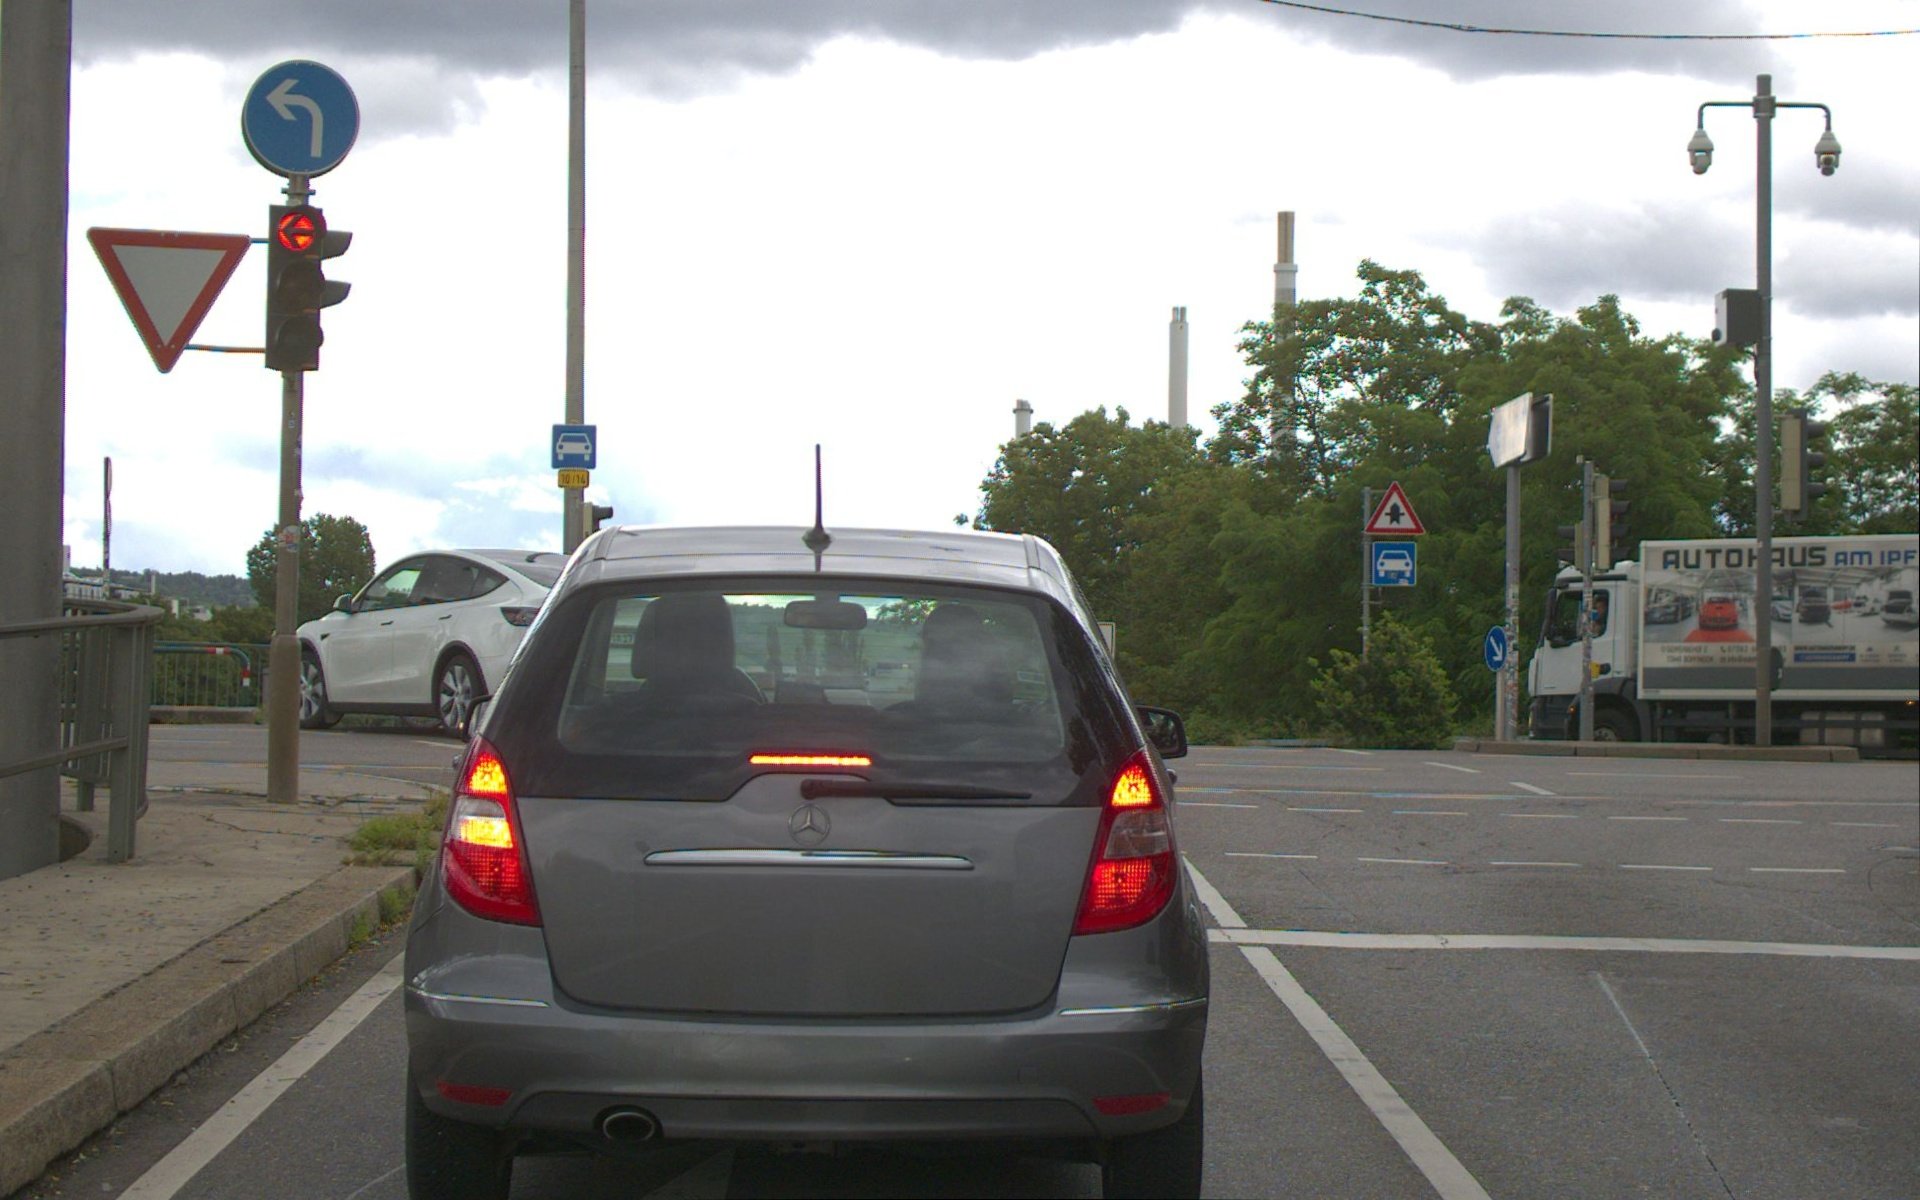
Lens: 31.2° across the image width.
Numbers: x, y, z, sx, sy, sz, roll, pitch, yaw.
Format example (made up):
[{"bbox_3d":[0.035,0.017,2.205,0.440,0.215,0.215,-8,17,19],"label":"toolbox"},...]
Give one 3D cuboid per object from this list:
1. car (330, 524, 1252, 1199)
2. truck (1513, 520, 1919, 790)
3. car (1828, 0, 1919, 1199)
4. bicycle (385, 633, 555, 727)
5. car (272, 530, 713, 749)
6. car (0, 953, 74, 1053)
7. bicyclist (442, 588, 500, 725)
[{"bbox_3d":[-0.295,0.611,8.956,1.858,1.583,4.000,1,2,2],"label":"car"},{"bbox_3d":[12.765,0.703,46.773,10.236,3.506,2.792,1,1,37],"label":"truck"},{"bbox_3d":[2.962,0.122,3.785,2.110,2.774,6.780,0,1,-1],"label":"car"},{"bbox_3d":[-6.091,0.984,42.707,2.032,1.121,0.929,0,1,-11],"label":"bicycle"},{"bbox_3d":[-4.113,0.274,29.689,1.931,1.711,4.405,0,1,-36],"label":"car"},{"bbox_3d":[-17.874,7.517,64.353,1.556,1.547,3.682,0,-2,1],"label":"car"},{"bbox_3d":[-6.077,0.699,42.716,0.653,1.668,0.870,0,1,-11],"label":"bicyclist"}]
